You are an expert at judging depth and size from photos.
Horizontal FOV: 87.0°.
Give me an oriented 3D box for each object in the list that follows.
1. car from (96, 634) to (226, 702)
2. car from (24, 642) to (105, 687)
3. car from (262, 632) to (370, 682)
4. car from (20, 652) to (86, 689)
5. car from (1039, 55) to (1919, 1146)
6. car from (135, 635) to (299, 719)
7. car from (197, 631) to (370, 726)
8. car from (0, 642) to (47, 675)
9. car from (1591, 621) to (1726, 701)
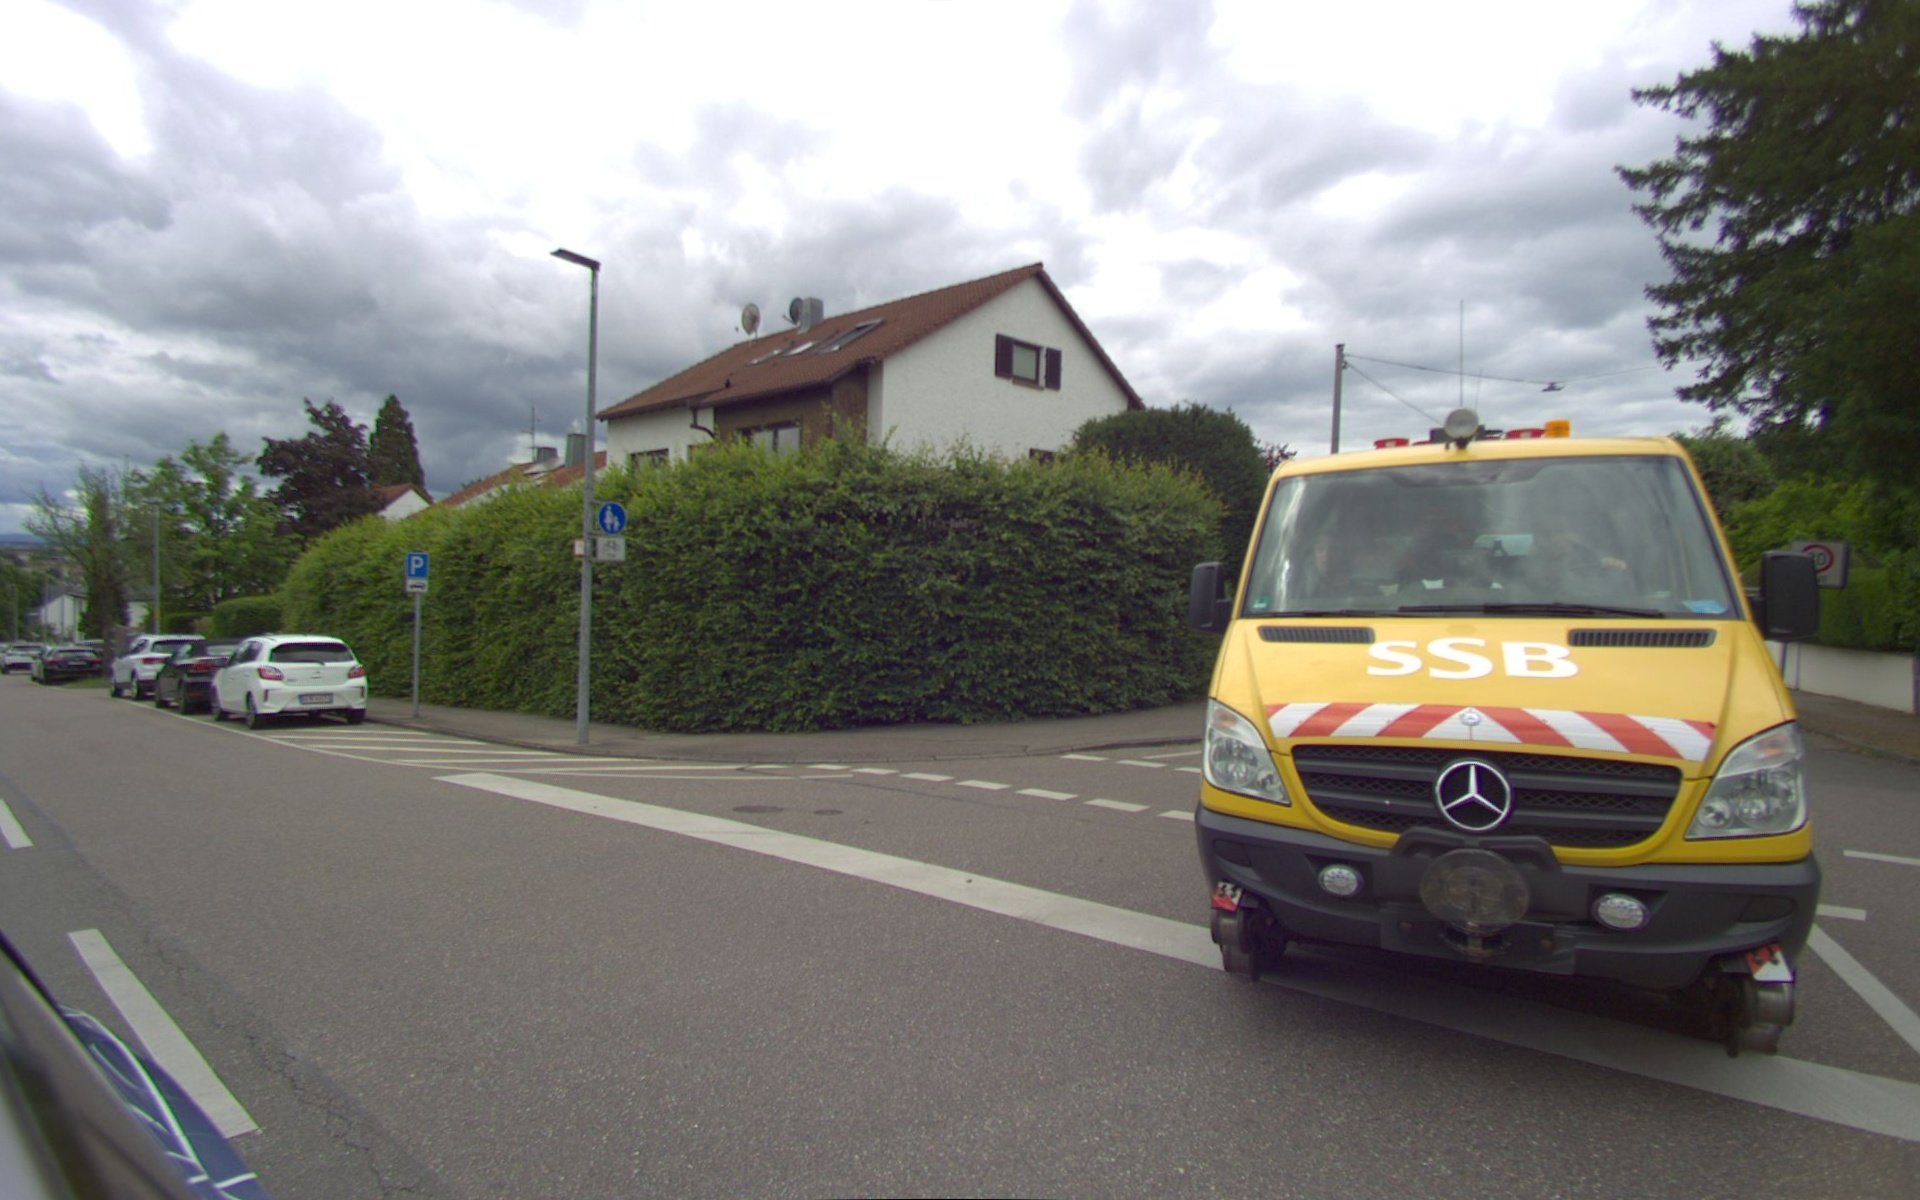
[{"bbox_3d":[-19.555,1.618,24.709,4.342,1.501,1.865,-3,-3,43],"label":"car"},{"bbox_3d":[-33.801,2.412,38.180,4.006,1.561,1.918,-3,-3,43],"label":"car"},{"bbox_3d":[-21.463,1.876,33.757,2.847,1.517,1.500,0,-2,-43],"label":"car"},{"bbox_3d":[-37.292,2.852,41.584,4.000,1.386,1.702,-3,-3,43],"label":"car"},{"bbox_3d":[2.740,0.086,5.660,2.357,2.621,6.085,-2,-2,28],"label":"car"},{"bbox_3d":[-15.069,1.491,20.423,4.739,1.501,1.762,-2,-5,43],"label":"car"},{"bbox_3d":[-11.528,1.281,17.166,3.580,1.430,1.671,-3,-4,44],"label":"car"},{"bbox_3d":[-50.223,3.108,54.003,4.001,1.541,1.909,-1,1,43],"label":"car"},{"bbox_3d":[15.796,1.343,23.112,1.816,1.637,4.047,-2,-2,25],"label":"car"}]
